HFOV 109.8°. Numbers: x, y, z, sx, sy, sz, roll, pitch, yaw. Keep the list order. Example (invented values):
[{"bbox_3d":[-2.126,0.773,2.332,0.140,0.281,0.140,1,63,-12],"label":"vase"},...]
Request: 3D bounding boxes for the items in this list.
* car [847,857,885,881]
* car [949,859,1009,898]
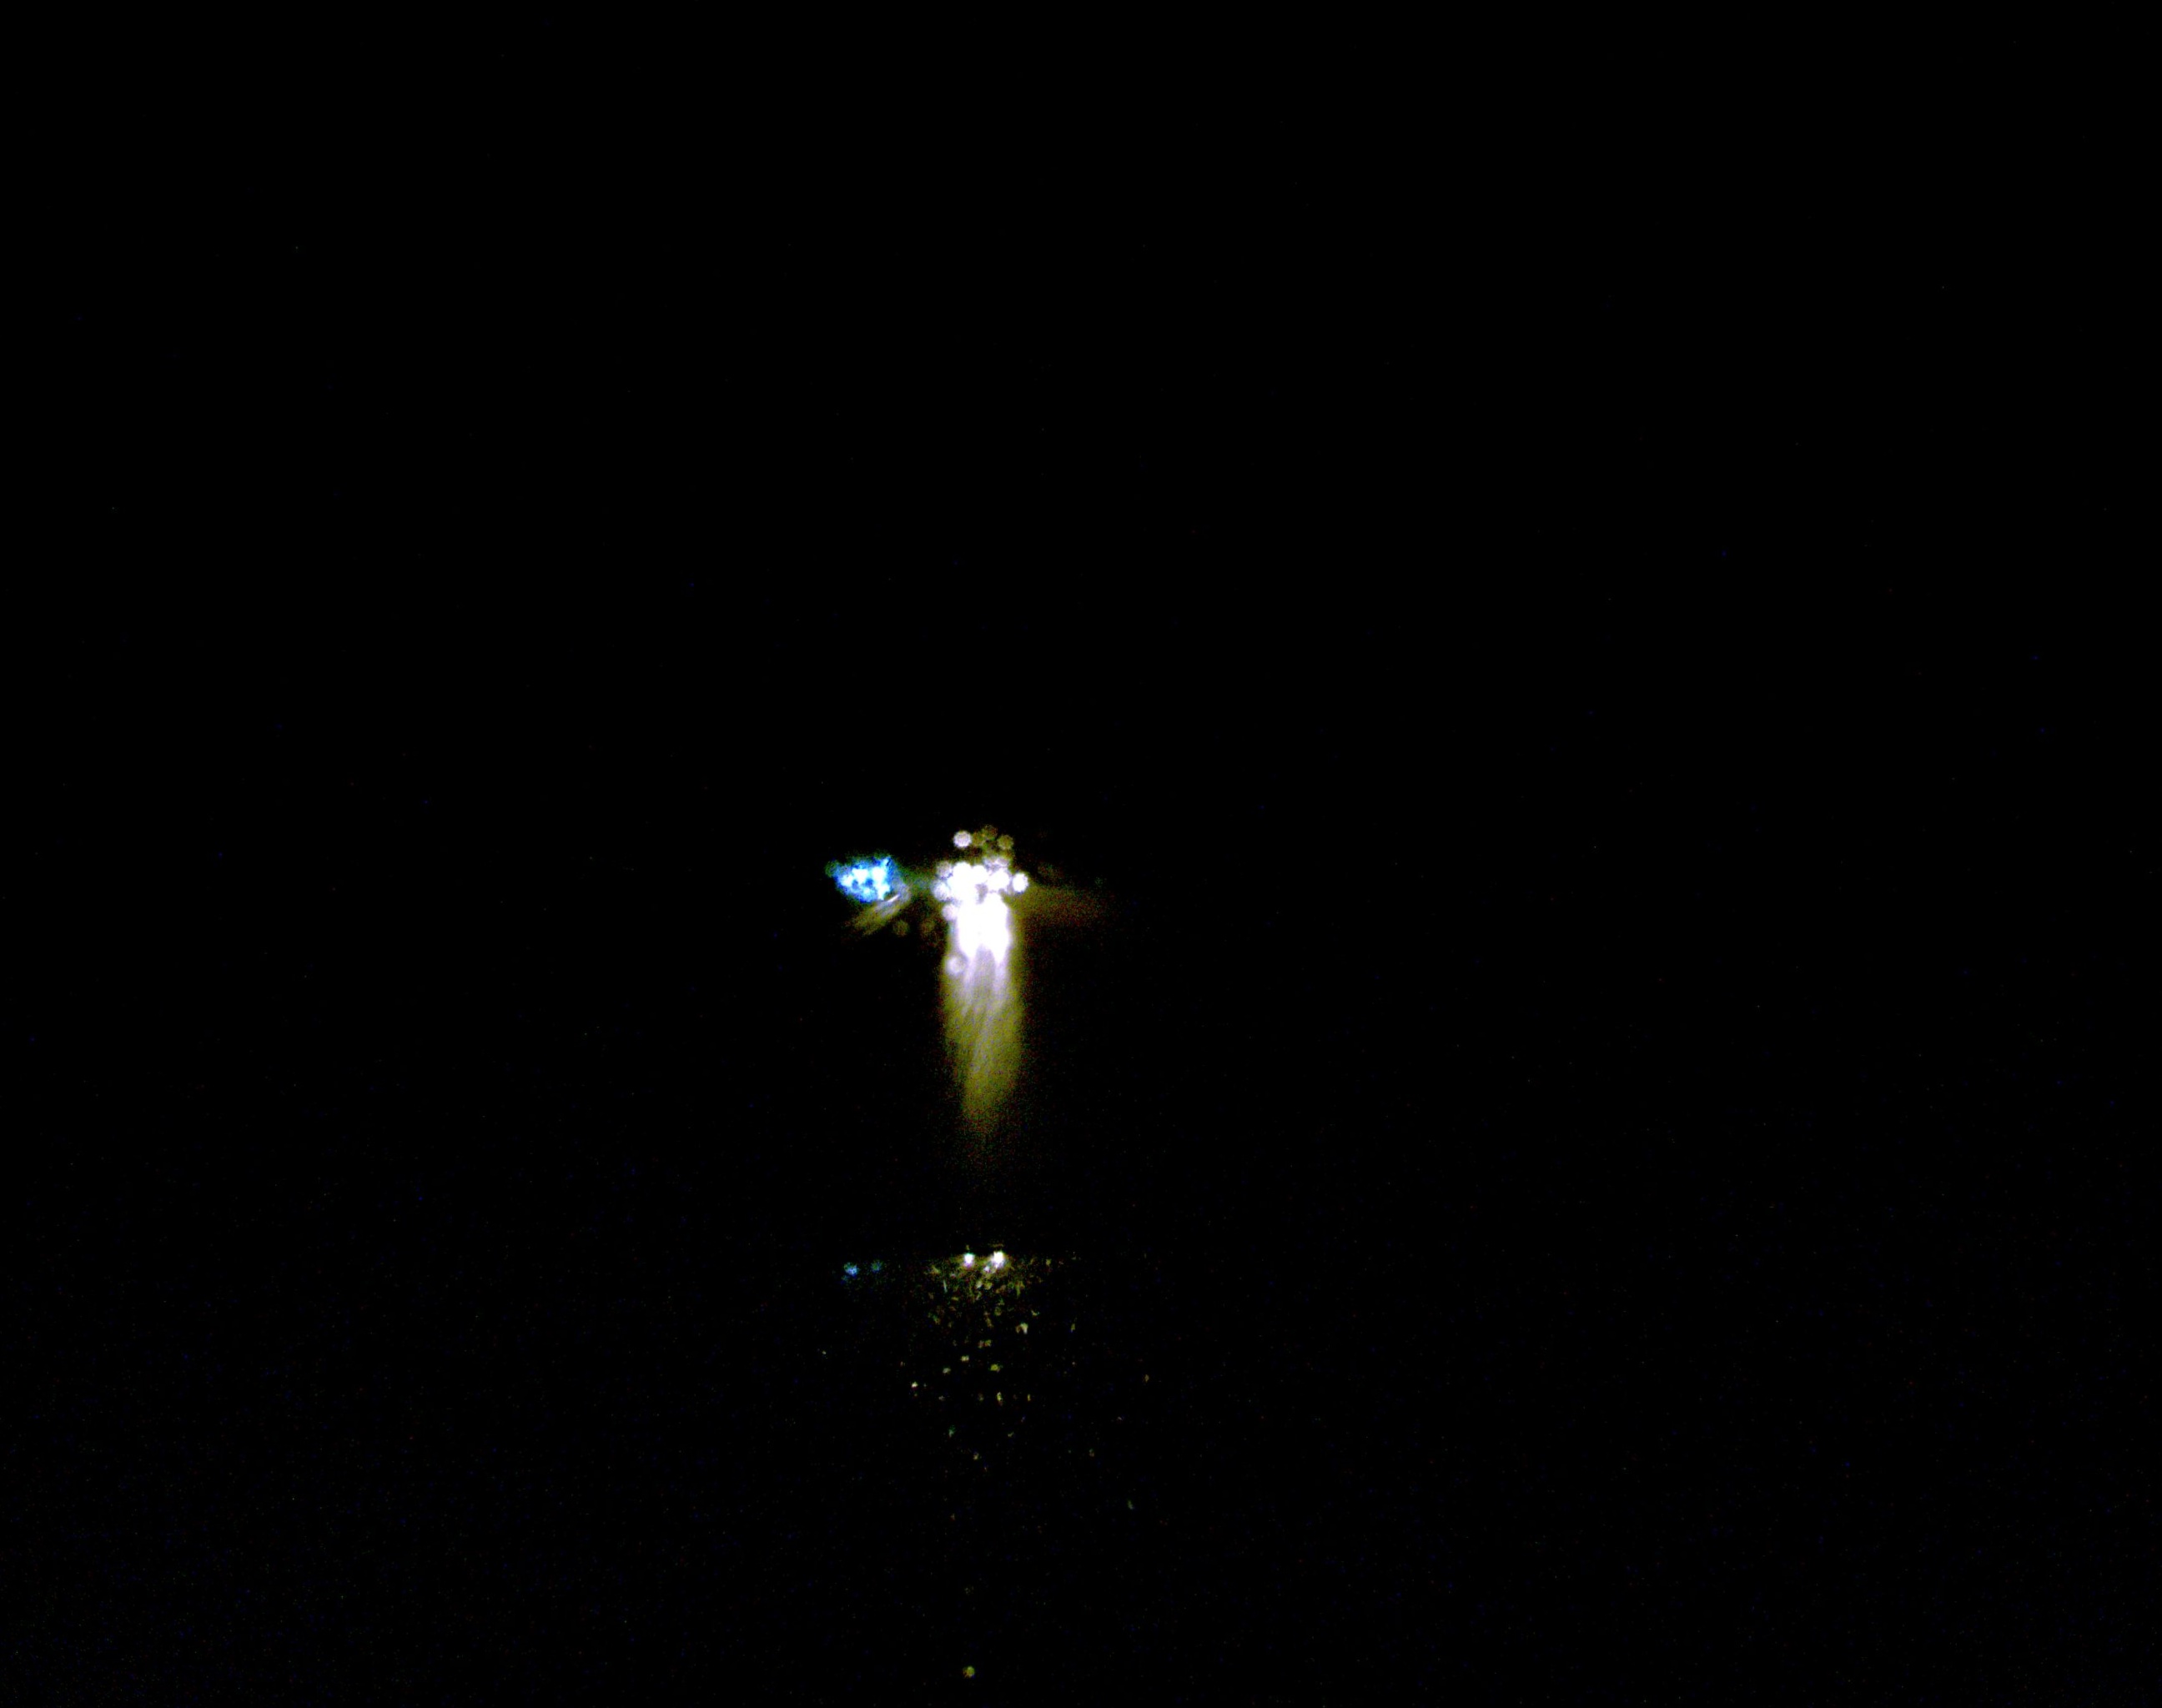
[{"bbox_3d":[-15.528,1.099,54.790,1.853,1.440,3.868,-4,-1,-27],"label":"car"},{"bbox_3d":[-4.327,0.976,31.715,1.852,1.441,3.994,-2,1,-17],"label":"car"}]
